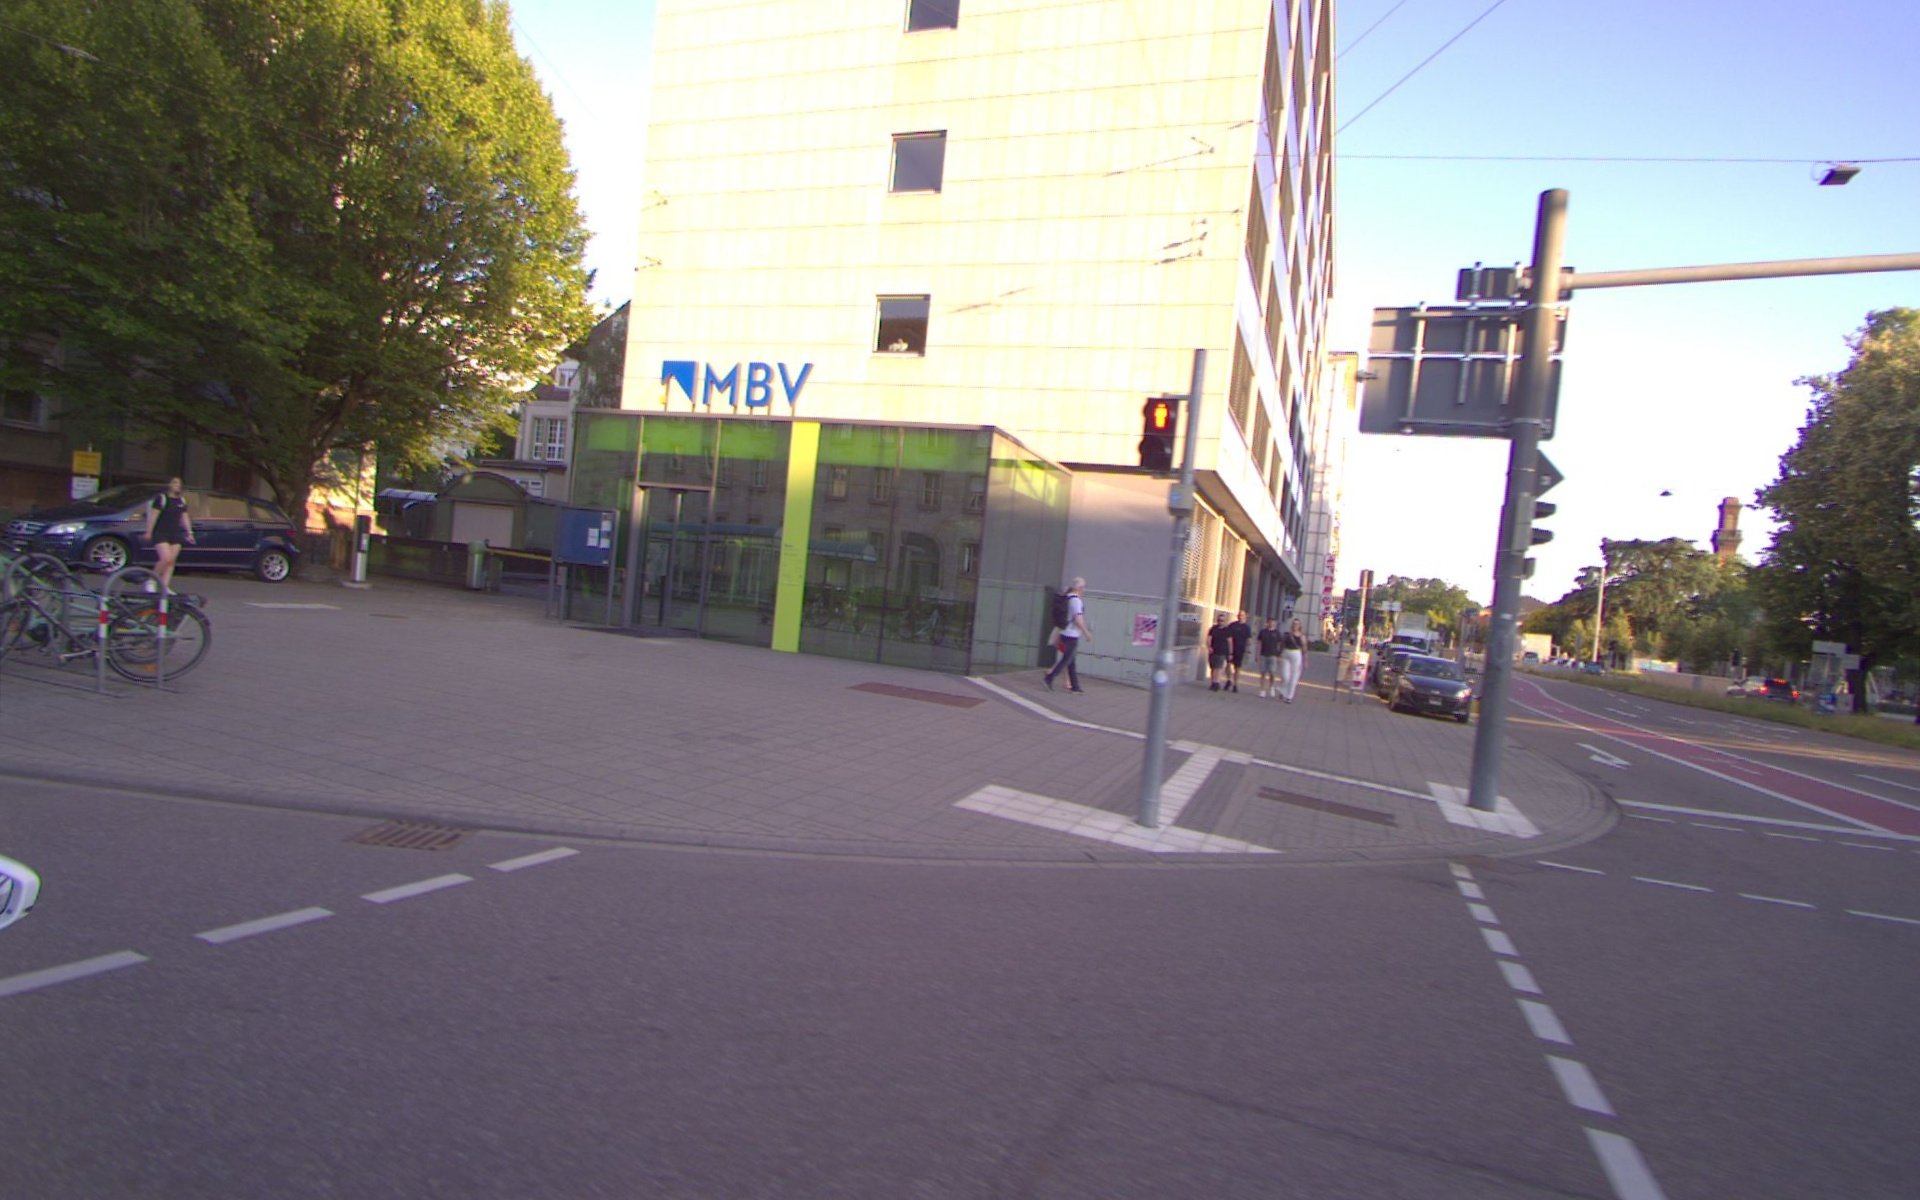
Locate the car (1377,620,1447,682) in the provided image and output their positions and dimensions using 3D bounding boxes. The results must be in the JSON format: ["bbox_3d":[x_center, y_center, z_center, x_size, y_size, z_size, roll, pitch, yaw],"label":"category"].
[{"bbox_3d":[24.027,2.745,53.333,2.207,2.662,5.841,14,4,31],"label":"car"}]

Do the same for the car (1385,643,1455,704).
[{"bbox_3d":[15.814,2.467,34.753,1.667,1.686,3.866,10,2,20],"label":"car"}]

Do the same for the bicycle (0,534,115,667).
[{"bbox_3d":[-8.407,-0.021,8.487,0.730,1.088,1.759,6,1,22],"label":"bicycle"}]

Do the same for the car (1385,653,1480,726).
[{"bbox_3d":[11.938,2.214,25.640,1.667,1.428,3.867,8,1,20],"label":"car"}]

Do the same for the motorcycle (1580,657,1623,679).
[{"bbox_3d":[65.119,6.857,102.123,3.435,1.777,0.924,6,2,24],"label":"motorcycle"}]

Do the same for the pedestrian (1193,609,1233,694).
[{"bbox_3d":[5.602,1.121,22.258,0.643,1.791,0.646,6,2,17],"label":"pedestrian"}]

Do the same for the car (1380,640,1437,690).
[{"bbox_3d":[18.880,2.701,42.506,1.667,1.686,3.866,10,2,20],"label":"car"}]

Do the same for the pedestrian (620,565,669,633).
[{"bbox_3d":[-6.039,-0.021,19.267,0.604,1.224,0.543,6,1,21],"label":"pedestrian"}]

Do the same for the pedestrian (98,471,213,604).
[{"bbox_3d":[-11.629,-0.883,14.557,0.970,1.791,0.708,6,1,5],"label":"pedestrian"}]

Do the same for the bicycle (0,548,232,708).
[{"bbox_3d":[-6.726,0.206,7.558,0.733,1.088,1.858,7,1,38],"label":"bicycle"}]

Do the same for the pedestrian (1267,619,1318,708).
[{"bbox_3d":[7.128,1.353,21.583,0.827,1.791,0.785,6,1,17],"label":"pedestrian"}]

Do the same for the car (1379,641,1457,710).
[{"bbox_3d":[14.098,2.260,31.159,1.667,1.686,3.866,10,2,20],"label":"car"}]

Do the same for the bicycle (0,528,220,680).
[{"bbox_3d":[-7.526,0.018,8.261,0.730,1.147,2.235,6,2,22],"label":"bicycle"}]

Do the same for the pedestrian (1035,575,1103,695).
[{"bbox_3d":[1.715,0.546,15.836,0.733,1.791,0.708,6,2,21],"label":"pedestrian"}]

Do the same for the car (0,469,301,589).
[{"bbox_3d":[-14.229,-1.173,17.753,1.770,1.594,3.995,7,1,20],"label":"car"}]

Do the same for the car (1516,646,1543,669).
[{"bbox_3d":[62.115,6.233,109.716,1.855,2.266,3.907,6,1,22],"label":"car"}]

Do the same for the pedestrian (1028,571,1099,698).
[{"bbox_3d":[1.563,0.512,15.113,0.722,1.791,0.708,6,2,21],"label":"pedestrian"}]

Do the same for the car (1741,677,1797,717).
[{"bbox_3d":[41.556,4.973,51.769,1.671,1.625,4.078,13,3,35],"label":"car"}]
